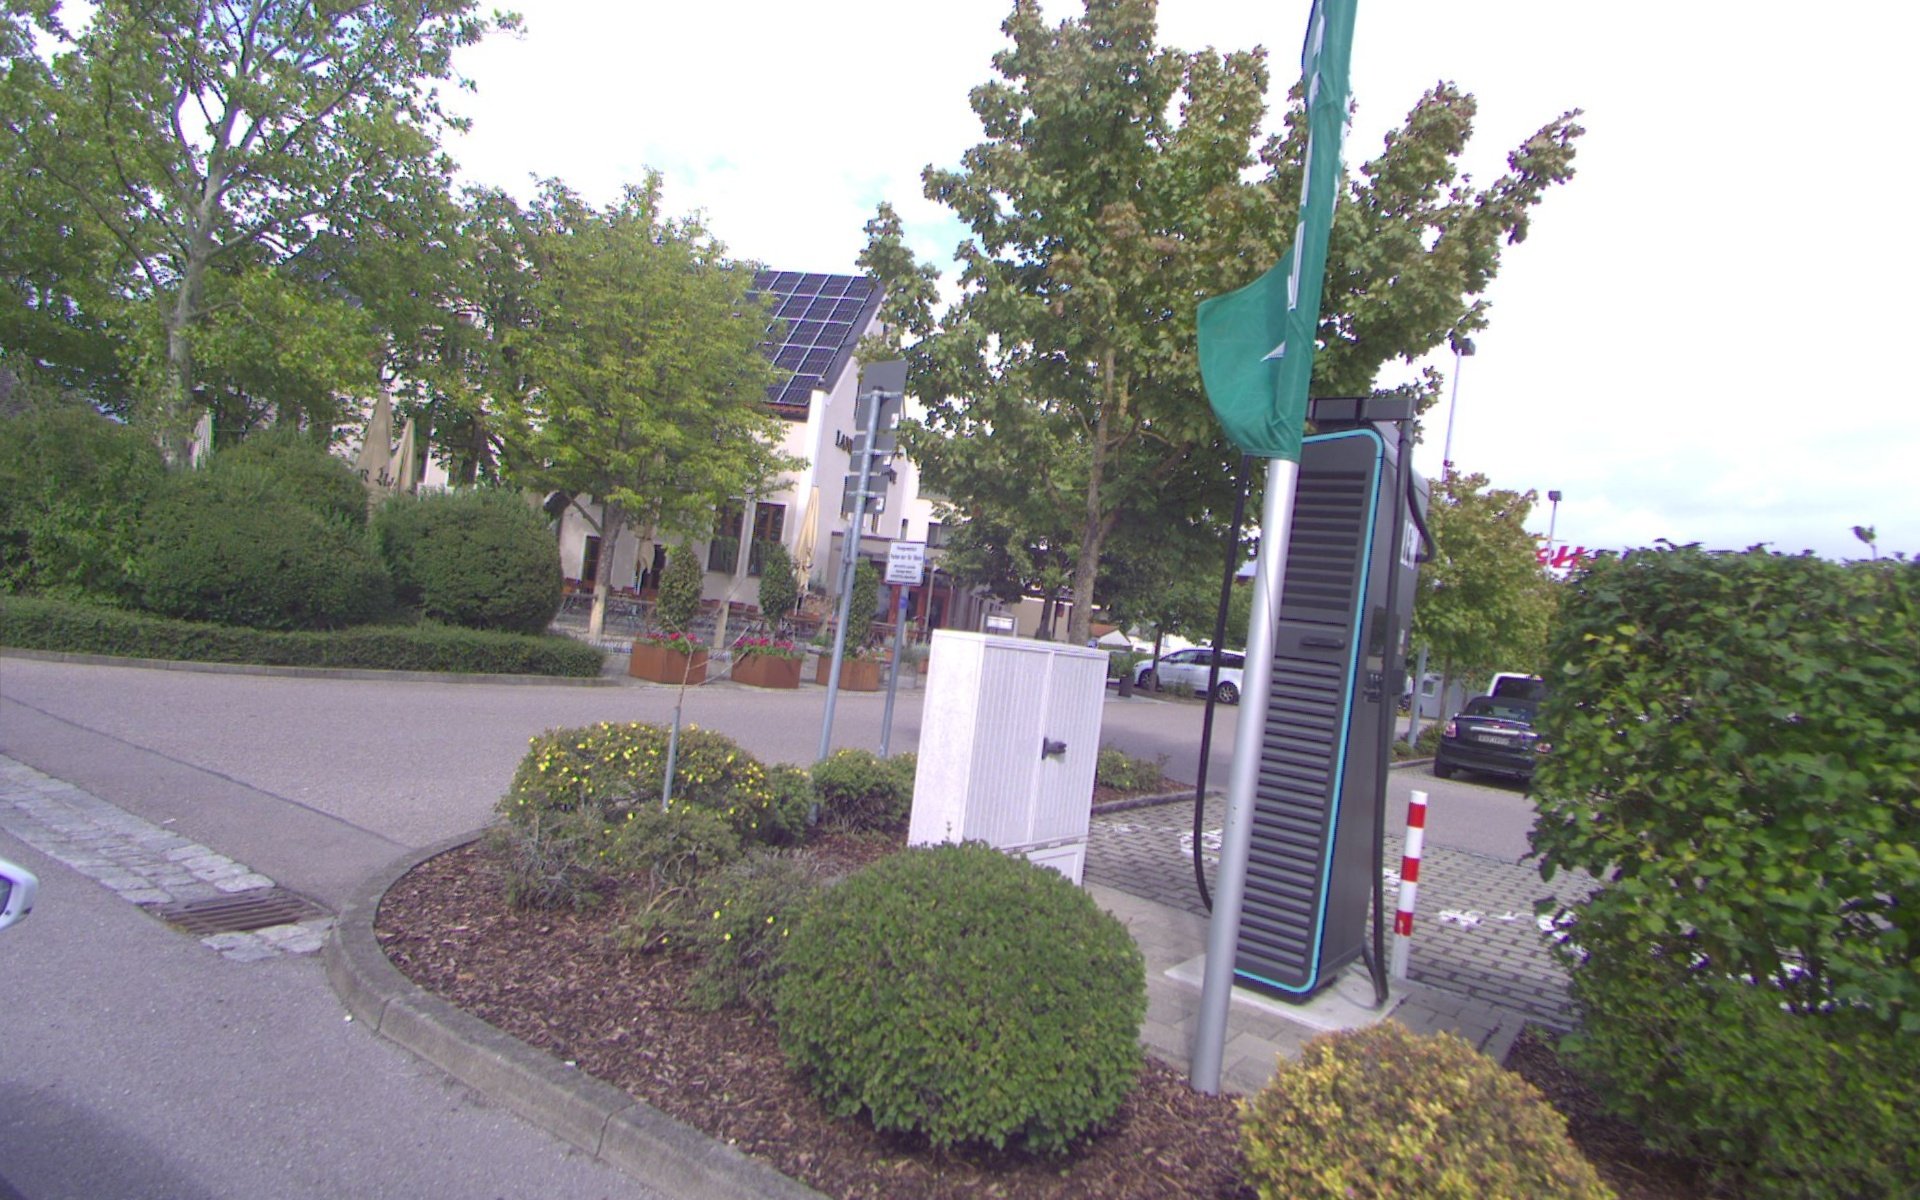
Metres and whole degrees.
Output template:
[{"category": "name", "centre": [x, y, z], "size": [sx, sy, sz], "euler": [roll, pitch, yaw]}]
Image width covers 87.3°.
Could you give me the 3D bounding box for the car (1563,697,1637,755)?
[{"category": "car", "centre": [20.846, 4.099, 32.813], "size": [1.794, 1.517, 3.840], "euler": [7, -2, 33]}]

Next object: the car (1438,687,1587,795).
[{"category": "car", "centre": [9.142, 2.288, 16.534], "size": [1.604, 1.367, 3.364], "euler": [7, -2, 36]}]

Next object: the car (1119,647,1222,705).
[{"category": "car", "centre": [9.558, 3.451, 45.739], "size": [3.933, 2.037, 1.998], "euler": [7, -1, 31]}]

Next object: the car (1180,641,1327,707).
[{"category": "car", "centre": [11.151, 2.795, 38.405], "size": [5.000, 1.731, 1.594], "euler": [7, -1, 36]}]

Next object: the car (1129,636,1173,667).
[{"category": "car", "centre": [14.409, 3.893, 75.881], "size": [1.688, 1.850, 3.602], "euler": [7, -2, 37]}]

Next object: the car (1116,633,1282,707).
[{"category": "car", "centre": [8.014, 2.336, 33.983], "size": [5.000, 1.731, 1.746], "euler": [7, -2, 36]}]

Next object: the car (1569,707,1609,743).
[{"category": "car", "centre": [36.274, 7.196, 58.042], "size": [1.738, 1.740, 3.994], "euler": [7, -2, 33]}]

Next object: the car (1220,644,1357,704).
[{"category": "car", "centre": [13.656, 3.064, 42.015], "size": [5.000, 1.731, 1.746], "euler": [7, -2, 36]}]

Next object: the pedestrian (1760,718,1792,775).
[{"category": "pedestrian", "centre": [26.467, 4.752, 32.626], "size": [0.410, 1.745, 0.497], "euler": [8, -1, -21]}]

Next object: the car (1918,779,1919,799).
[{"category": "car", "centre": [28.178, 5.085, 27.945], "size": [1.504, 1.390, 3.473], "euler": [7, -2, 33]}]

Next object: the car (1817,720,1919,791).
[{"category": "car", "centre": [26.731, 4.513, 29.485], "size": [1.738, 1.675, 3.994], "euler": [7, -2, 33]}]

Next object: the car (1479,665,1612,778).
[{"category": "car", "centre": [12.079, 2.481, 20.603], "size": [1.740, 1.843, 4.355], "euler": [7, -2, 36]}]

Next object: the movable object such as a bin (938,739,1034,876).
[{"category": "movable object such as a bin", "centre": [0.148, 1.167, 5.723], "size": [0.362, 0.692, 0.287], "euler": [7, -1, 41]}]
